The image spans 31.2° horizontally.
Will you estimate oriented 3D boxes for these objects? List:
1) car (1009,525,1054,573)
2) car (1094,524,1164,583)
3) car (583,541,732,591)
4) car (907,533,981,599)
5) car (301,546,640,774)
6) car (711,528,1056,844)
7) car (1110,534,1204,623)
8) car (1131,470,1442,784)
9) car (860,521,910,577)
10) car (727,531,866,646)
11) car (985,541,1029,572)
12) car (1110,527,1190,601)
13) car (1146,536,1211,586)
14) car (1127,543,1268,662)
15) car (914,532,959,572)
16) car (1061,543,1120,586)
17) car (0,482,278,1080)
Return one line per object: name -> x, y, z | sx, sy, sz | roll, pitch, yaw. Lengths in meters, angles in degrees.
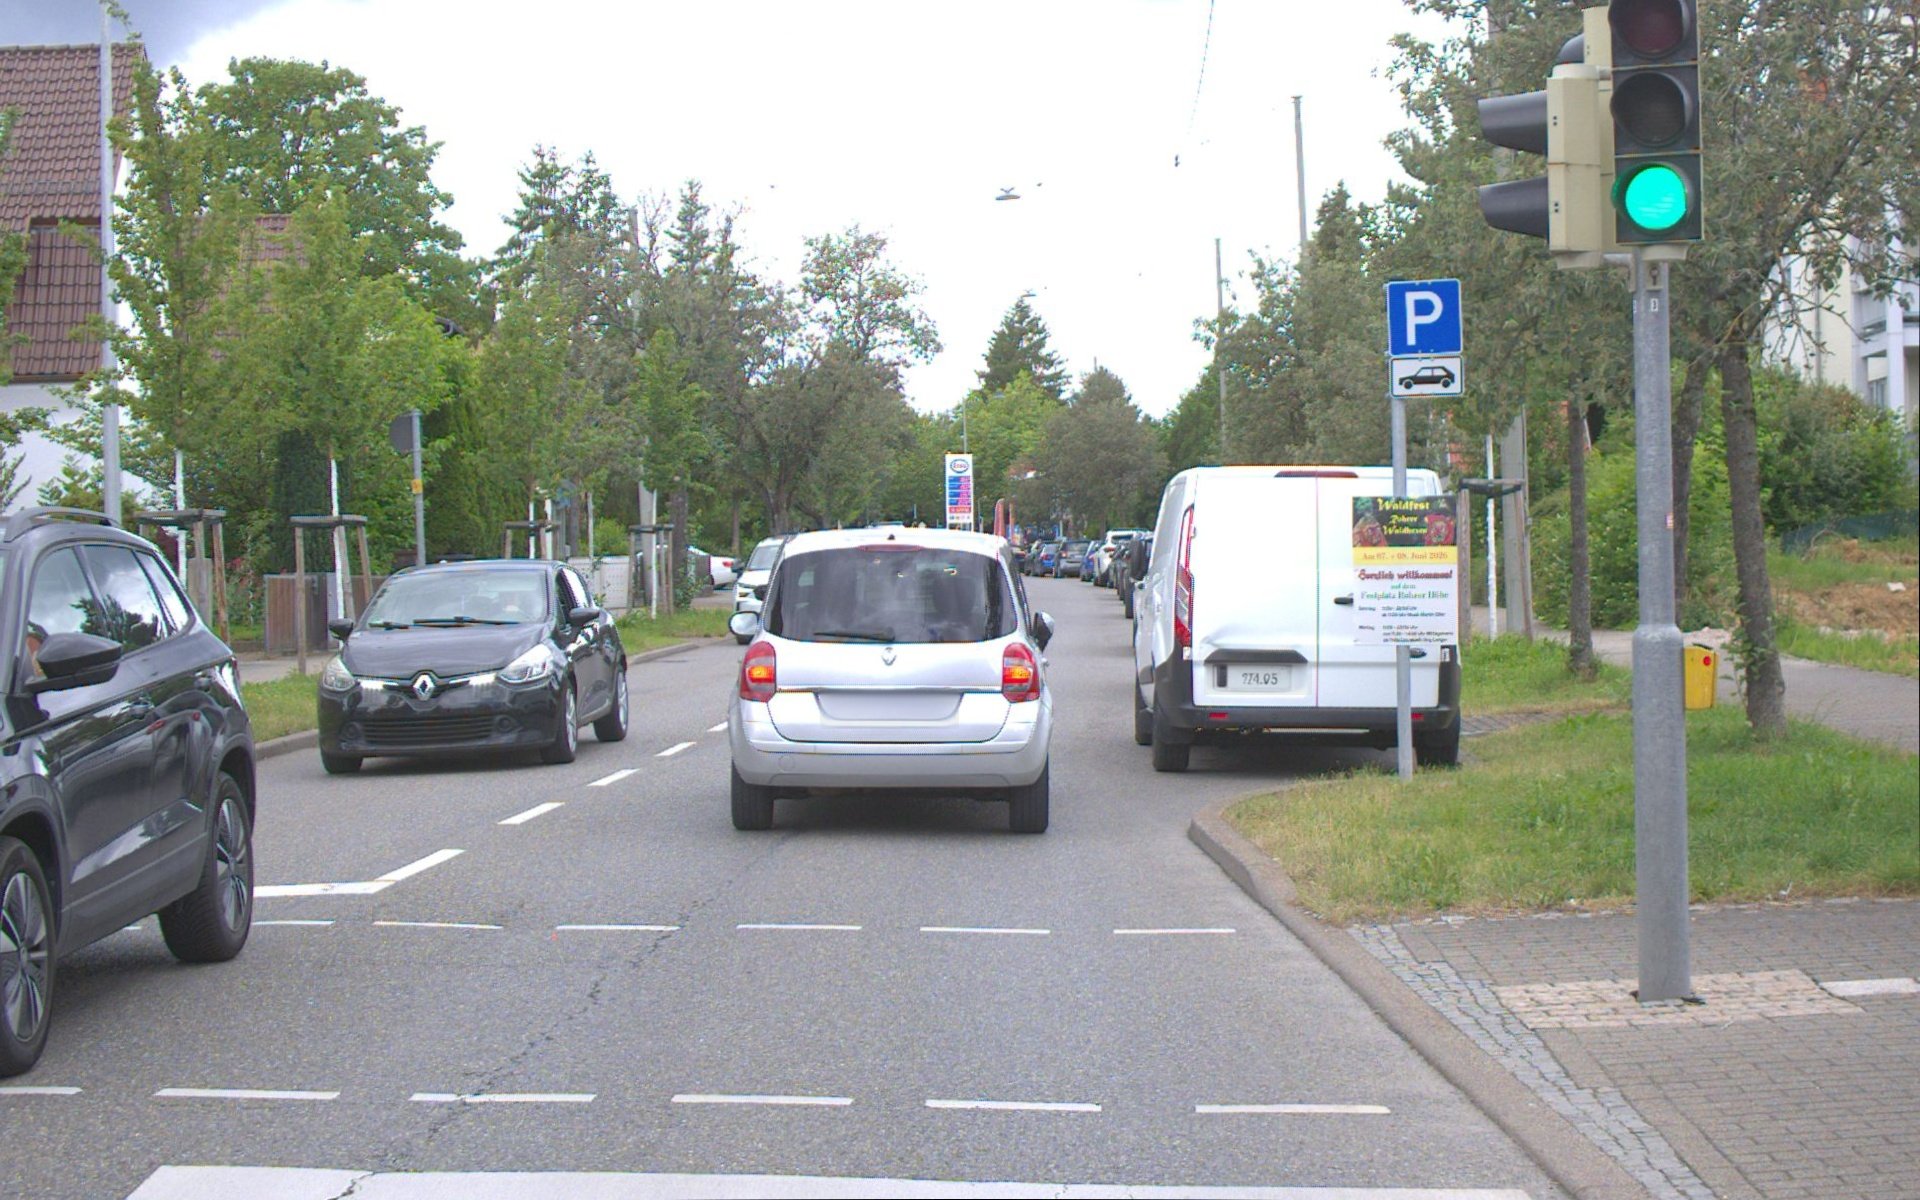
car -> 4.437, -3.171, 213.932 | 2.281, 2.901, 5.280 | 0, 1, -4
car -> 5.235, -1.447, 106.846 | 1.799, 1.772, 4.705 | 0, 1, -2
car -> -8.782, -0.993, 99.957 | 4.277, 1.363, 1.816 | 1, 0, -4
car -> -0.427, -0.963, 96.042 | 1.795, 1.746, 4.298 | -2, 1, 3
car -> -3.456, 0.372, 24.941 | 1.616, 1.467, 4.000 | -2, 1, 3
car -> -0.333, 0.398, 18.840 | 1.679, 1.554, 3.511 | 1, 1, 2
car -> 3.674, -0.425, 64.584 | 1.688, 1.603, 4.109 | 0, 1, 2
car -> 2.138, 0.128, 23.650 | 1.775, 1.937, 4.789 | 0, 1, 1
car -> -3.653, -2.501, 168.460 | 2.073, 2.574, 5.300 | -3, 1, 1
car -> -2.560, -0.209, 54.756 | 1.814, 1.687, 4.466 | -2, 1, 1
car -> 2.290, -2.149, 168.804 | 1.695, 1.501, 3.973 | -1, 1, -6
car -> 4.568, -0.876, 83.009 | 1.830, 1.706, 4.549 | -1, 1, 2
car -> 6.407, -1.149, 101.200 | 1.558, 1.438, 3.507 | 0, 1, -2
car -> 3.045, -0.009, 44.724 | 1.693, 1.448, 4.404 | 1, 1, 2
car -> -1.079, -2.200, 156.417 | 1.835, 1.708, 4.000 | -2, 1, -2
car -> 4.609, -1.253, 121.771 | 1.626, 1.447, 3.876 | -2, 1, -4
car -> -3.545, 0.507, 10.679 | 1.895, 1.619, 4.000 | -3, 1, 1
